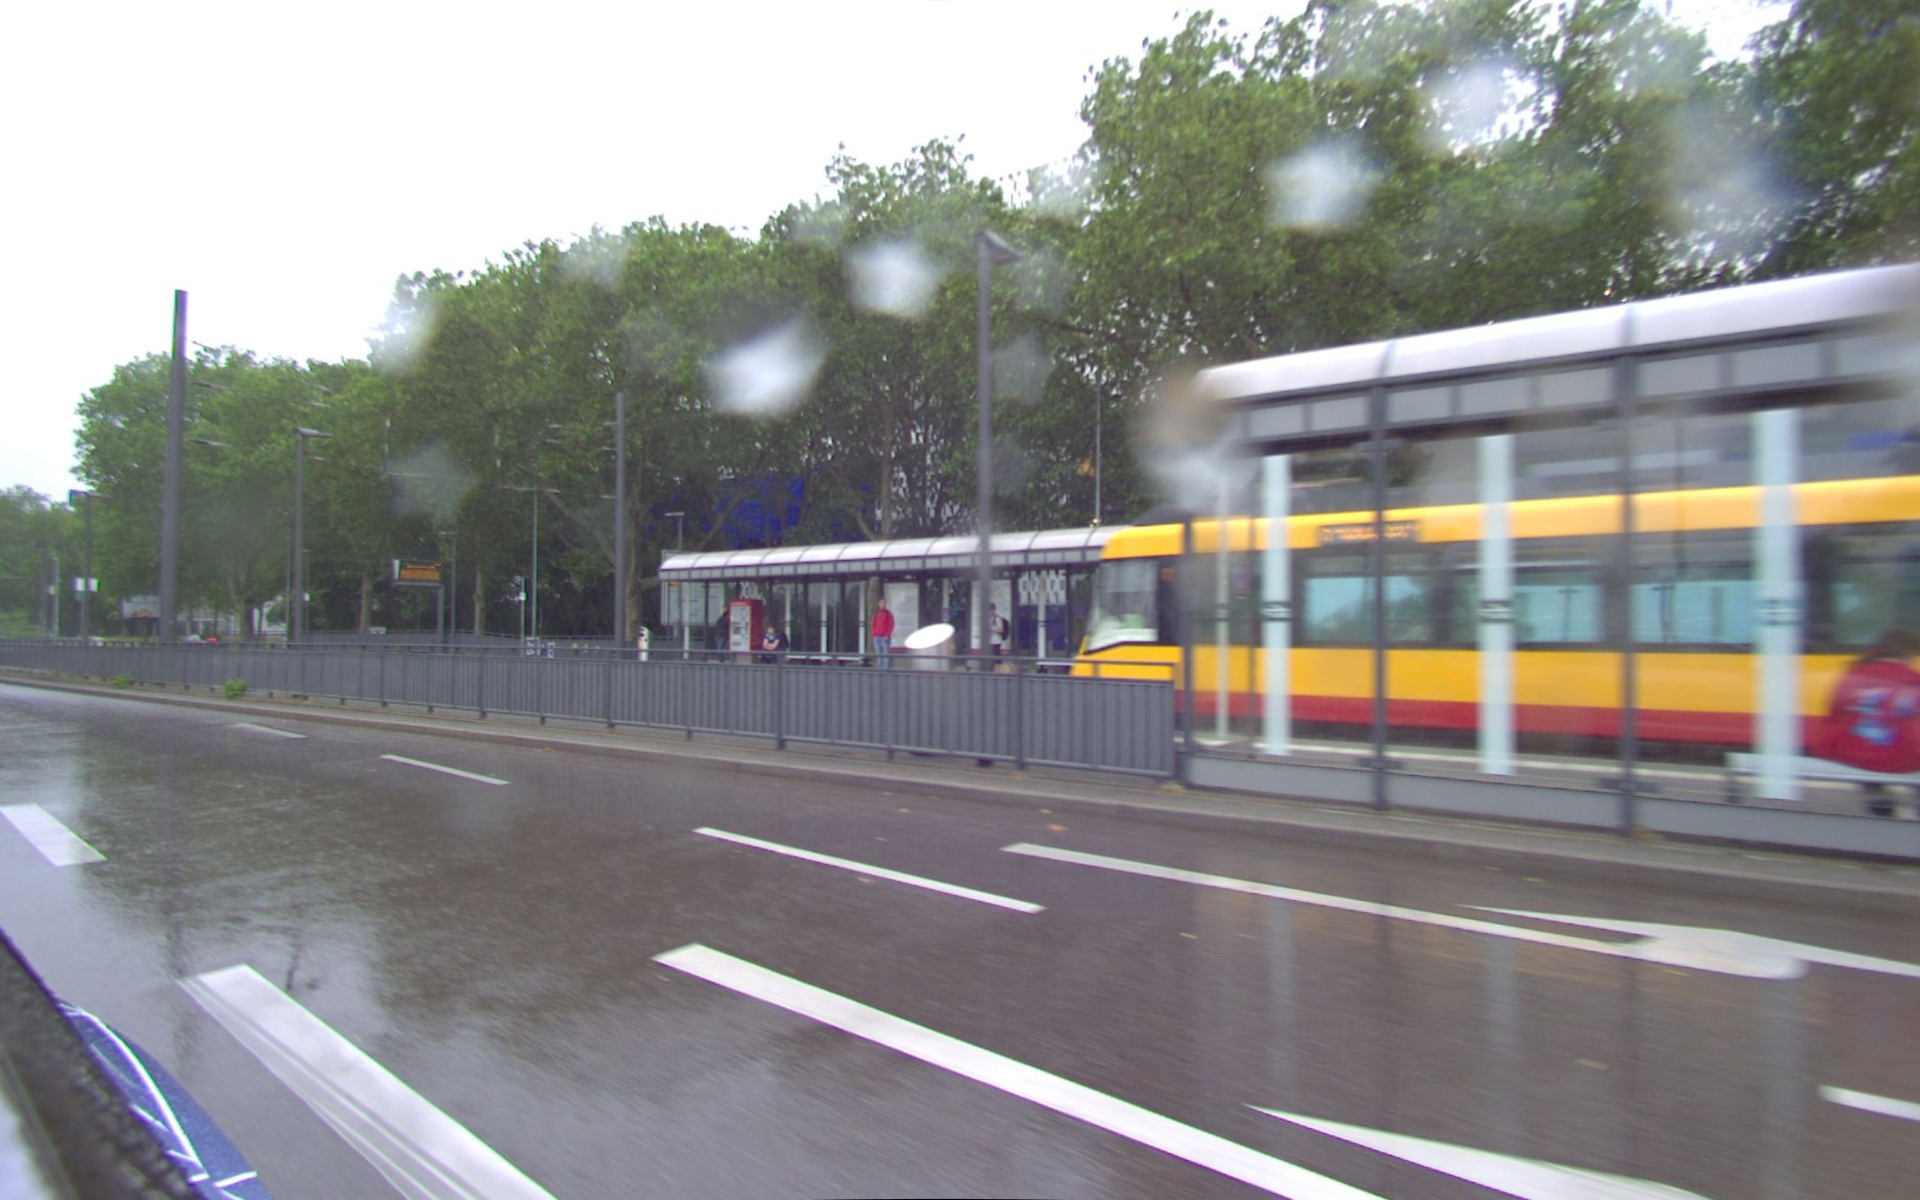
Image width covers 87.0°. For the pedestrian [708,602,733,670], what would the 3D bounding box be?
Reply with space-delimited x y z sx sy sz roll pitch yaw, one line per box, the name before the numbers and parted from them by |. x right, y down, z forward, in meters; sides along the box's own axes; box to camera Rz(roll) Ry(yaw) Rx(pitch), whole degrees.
pedestrian | -6.747 1.013 28.512 0.460 1.897 0.476 0 0 29

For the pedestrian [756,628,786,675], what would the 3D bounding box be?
pedestrian | -5.056 1.366 27.087 0.578 1.209 0.515 0 0 29

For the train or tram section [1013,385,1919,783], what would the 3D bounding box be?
train or tram section | 8.179 -0.142 12.823 15.542 3.827 3.708 -1 0 37

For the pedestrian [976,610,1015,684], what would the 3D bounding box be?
pedestrian | 0.809 1.051 22.762 0.669 1.625 0.615 0 0 29

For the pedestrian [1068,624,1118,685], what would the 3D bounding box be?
pedestrian | 2.795 1.128 21.231 0.873 1.245 0.615 0 0 29

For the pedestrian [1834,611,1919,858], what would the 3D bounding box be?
pedestrian | 4.977 0.684 5.348 0.452 1.245 0.467 0 0 -39

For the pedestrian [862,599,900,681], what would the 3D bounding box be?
pedestrian | -1.896 0.951 24.352 0.669 1.926 0.615 0 0 29
